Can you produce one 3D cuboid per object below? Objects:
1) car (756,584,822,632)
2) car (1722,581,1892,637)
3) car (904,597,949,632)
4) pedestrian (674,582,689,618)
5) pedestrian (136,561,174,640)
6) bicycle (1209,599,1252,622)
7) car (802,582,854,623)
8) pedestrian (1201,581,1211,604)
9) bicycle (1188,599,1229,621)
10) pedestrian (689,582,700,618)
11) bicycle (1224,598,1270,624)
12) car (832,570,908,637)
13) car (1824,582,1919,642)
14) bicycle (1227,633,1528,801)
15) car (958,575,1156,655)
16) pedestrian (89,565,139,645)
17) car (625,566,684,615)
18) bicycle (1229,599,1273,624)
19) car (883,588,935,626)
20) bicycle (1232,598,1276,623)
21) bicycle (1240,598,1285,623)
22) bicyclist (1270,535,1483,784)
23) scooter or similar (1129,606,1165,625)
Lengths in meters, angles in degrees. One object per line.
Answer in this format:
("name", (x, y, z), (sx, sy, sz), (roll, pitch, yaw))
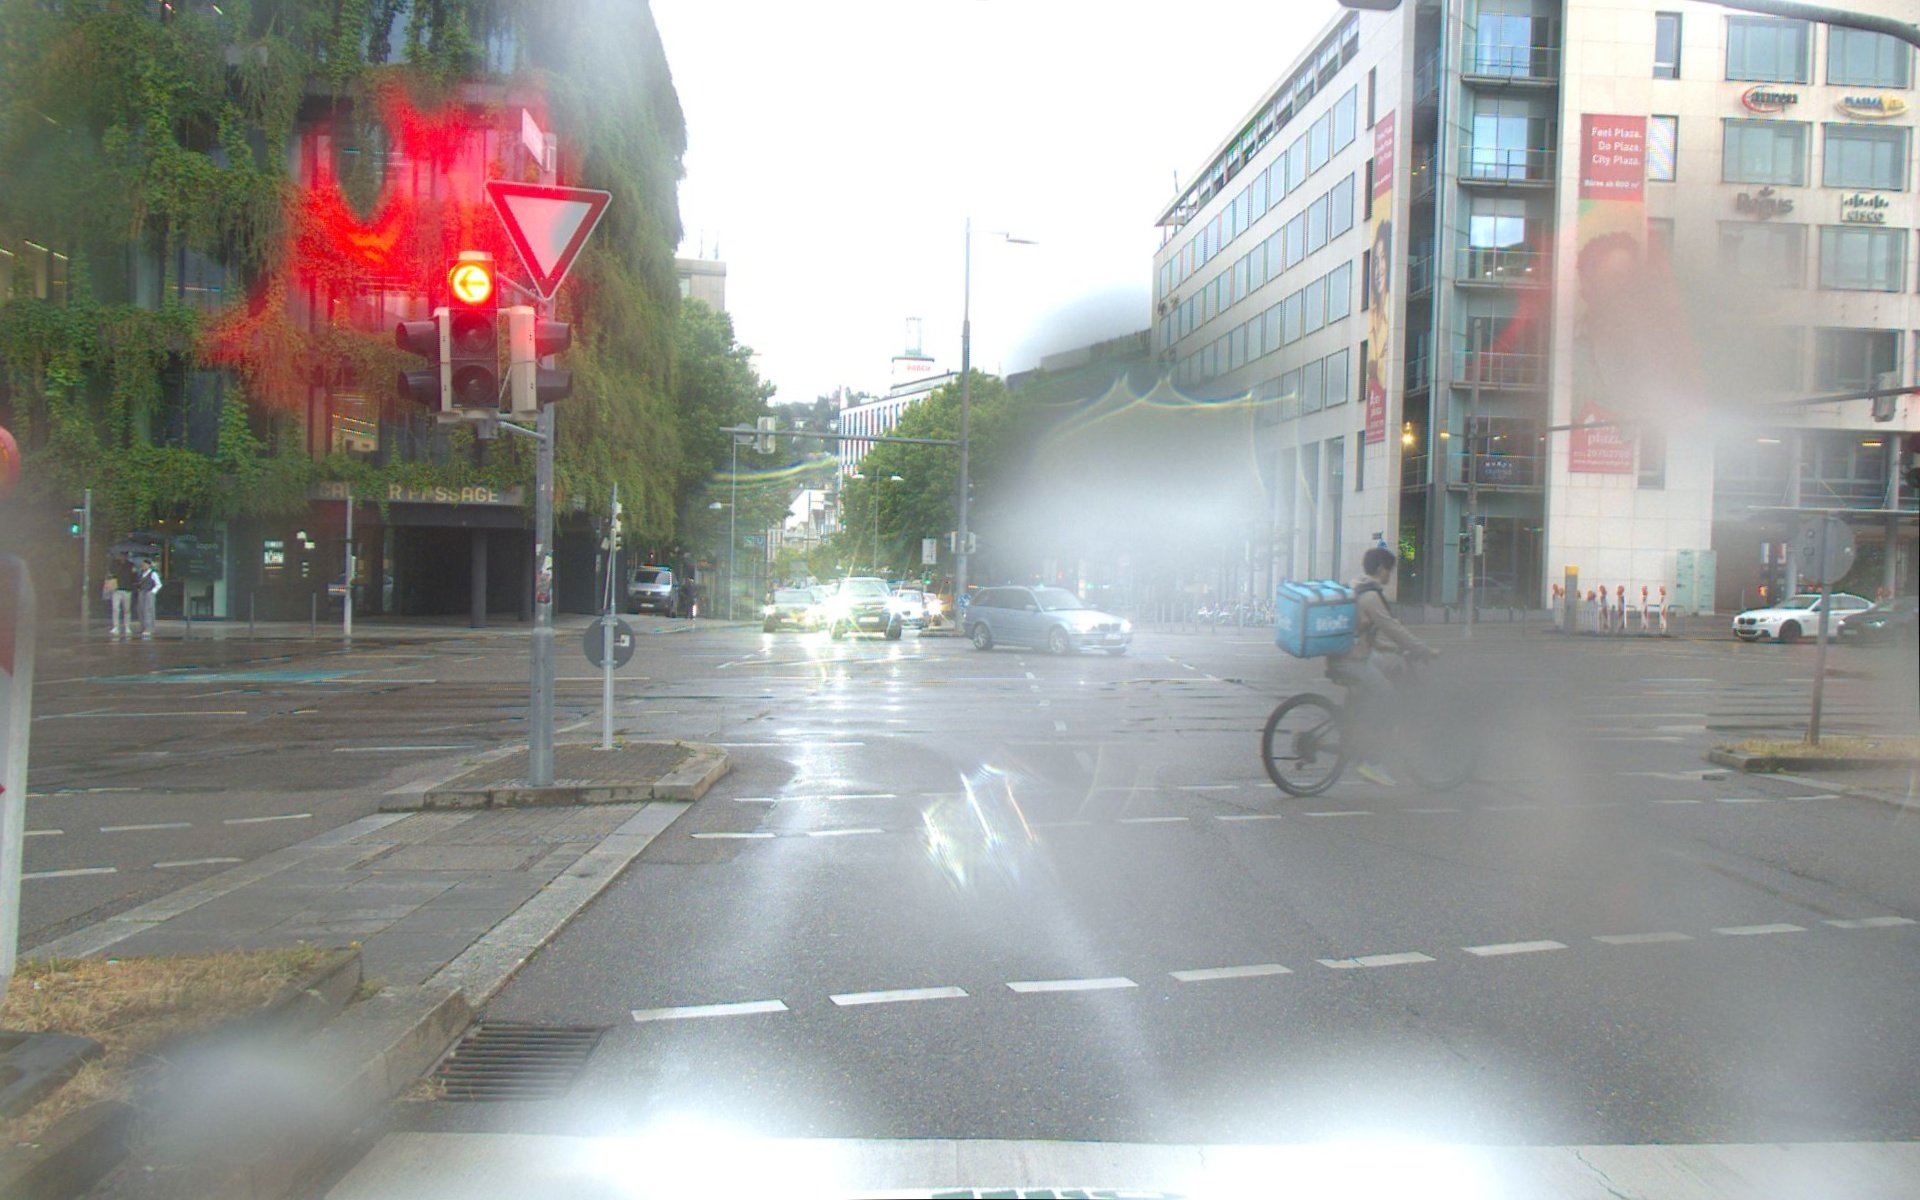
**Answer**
("car", (-5.721, 0.247, 54.962), (1.822, 1.473, 4.610), (0, 1, -10))
("car", (25.413, 0.275, 49.663), (4.378, 1.626, 1.992), (0, 0, -16))
("car", (-1.695, 0.699, 82.113), (1.954, 1.556, 4.552), (0, 2, -5))
("pedestrian", (-12.201, 0.006, 72.476), (0.595, 1.550, 0.587), (1, 0, -5))
("pedestrian", (-18.517, -0.001, 38.046), (0.731, 1.788, 0.969), (0, 0, -24))
("bicycle", (11.606, 0.446, 71.060), (1.757, 0.950, 0.475), (1, 0, 2))
("car", (-5.149, 0.076, 64.226), (1.821, 1.473, 4.614), (0, 1, -7))
("pedestrian", (12.450, -0.385, 83.569), (0.348, 1.194, 0.412), (0, 0, -21))
("bicycle", (10.962, 0.439, 72.898), (1.757, 0.950, 0.475), (1, 0, 2))
("pedestrian", (-11.656, -0.014, 72.586), (0.428, 1.550, 0.547), (1, 0, -5))
("bicycle", (11.149, 0.421, 64.372), (1.767, 0.950, 0.473), (1, 0, 41))
("car", (-2.486, 0.037, 44.959), (1.925, 1.684, 4.360), (0, 2, -5))
("car", (26.781, 0.342, 46.322), (4.373, 1.626, 1.994), (1, 0, -13))
("bicycle", (3.085, 0.820, 12.199), (2.119, 1.122, 0.841), (0, 0, -26))
("car", (1.985, 0.262, 35.181), (1.976, 1.512, 4.413), (-1, 2, -33))
("pedestrian", (-19.334, 0.102, 37.815), (0.923, 1.788, 1.163), (0, 0, -24))
("car", (-12.527, -0.402, 68.104), (1.955, 1.928, 4.460), (1, 0, -5))
("bicycle", (11.747, 0.459, 66.734), (1.767, 0.950, 0.473), (1, 0, 41))
("car", (-2.104, 0.275, 67.341), (1.954, 1.469, 4.552), (1, 0, -4))
("bicycle", (11.722, 0.422, 65.988), (1.767, 0.950, 0.473), (1, 0, 41))
("bicycle", (11.896, 0.423, 65.025), (1.767, 0.950, 0.473), (1, 0, 41))
("bicyclist", (3.054, 0.414, 12.162), (1.278, 1.733, 0.841), (0, 0, -26))
("scooter or similar", (9.035, 0.750, 79.851), (1.720, 0.894, 0.486), (0, 0, -20))
